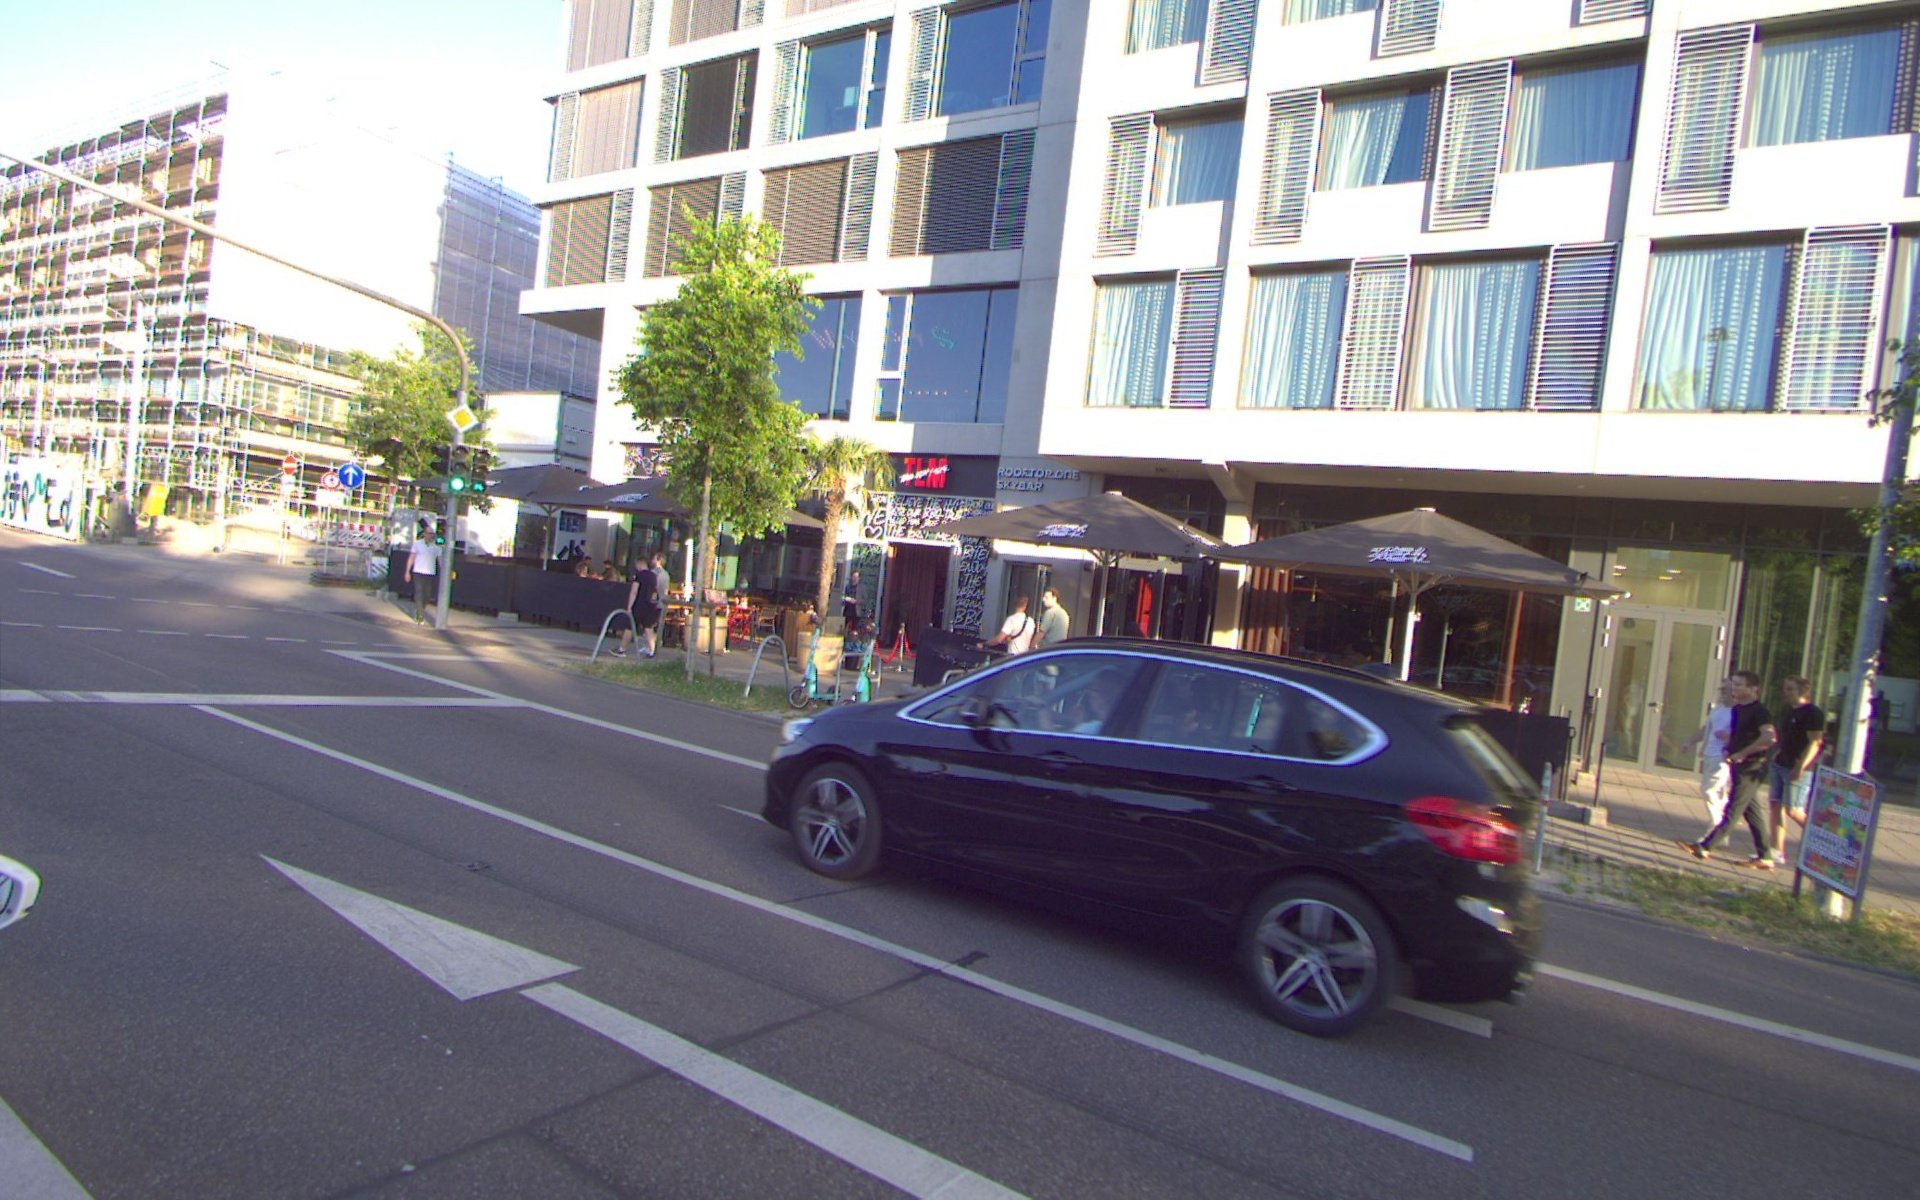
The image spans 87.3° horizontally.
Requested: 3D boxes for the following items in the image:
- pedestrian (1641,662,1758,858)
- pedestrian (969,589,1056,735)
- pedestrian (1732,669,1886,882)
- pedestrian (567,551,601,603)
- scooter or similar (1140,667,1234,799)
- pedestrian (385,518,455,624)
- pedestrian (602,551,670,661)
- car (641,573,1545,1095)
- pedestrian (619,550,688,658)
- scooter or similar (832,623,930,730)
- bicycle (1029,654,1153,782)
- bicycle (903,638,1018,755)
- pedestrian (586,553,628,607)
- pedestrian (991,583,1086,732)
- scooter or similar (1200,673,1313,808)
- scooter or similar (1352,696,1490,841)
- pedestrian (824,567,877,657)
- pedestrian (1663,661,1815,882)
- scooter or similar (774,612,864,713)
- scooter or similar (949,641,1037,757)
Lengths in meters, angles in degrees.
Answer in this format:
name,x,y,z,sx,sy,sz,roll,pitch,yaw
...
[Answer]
name,x,y,z,sx,sy,sz,roll,pitch,yaw
pedestrian,7.621,1.610,10.370,0.765,1.837,0.617,8,5,39
pedestrian,0.692,0.795,13.287,0.815,1.810,0.576,6,2,34
pedestrian,8.262,1.660,9.837,0.926,1.849,0.755,8,3,39
pedestrian,-10.149,-0.625,27.181,0.610,1.337,0.613,2,5,-42
scooter or similar,2.366,1.340,10.419,0.501,1.207,1.156,6,2,32
pedestrian,-10.039,-0.526,18.708,0.667,1.872,0.769,8,2,30
pedestrian,-5.368,0.097,16.658,0.677,1.725,0.654,8,3,30
car,0.550,0.929,5.804,4.712,1.537,1.823,7,-1,32
pedestrian,-5.319,0.067,17.461,0.748,1.758,0.685,8,4,30
scooter or similar,-0.985,0.948,12.660,0.542,1.240,1.059,8,3,40
bicycle,1.494,1.257,11.195,0.598,1.198,1.847,8,3,30
bicycle,0.048,1.109,12.141,0.557,1.210,1.796,7,3,25
pedestrian,-9.391,-0.525,26.784,0.704,1.337,0.743,9,5,43
pedestrian,1.088,0.772,13.879,0.853,1.913,0.824,6,2,35
scooter or similar,2.995,1.378,10.129,1.123,1.230,0.525,3,3,-45
scooter or similar,4.425,1.574,9.632,1.284,1.235,0.530,3,3,-36
pedestrian,-2.210,0.247,20.364,0.567,1.726,0.855,7,2,21
pedestrian,7.409,1.579,9.590,0.927,1.874,0.742,8,4,39
scooter or similar,-1.878,0.812,13.491,0.588,1.240,1.053,7,3,26
scooter or similar,0.409,1.129,11.849,0.471,1.218,1.211,7,3,25
